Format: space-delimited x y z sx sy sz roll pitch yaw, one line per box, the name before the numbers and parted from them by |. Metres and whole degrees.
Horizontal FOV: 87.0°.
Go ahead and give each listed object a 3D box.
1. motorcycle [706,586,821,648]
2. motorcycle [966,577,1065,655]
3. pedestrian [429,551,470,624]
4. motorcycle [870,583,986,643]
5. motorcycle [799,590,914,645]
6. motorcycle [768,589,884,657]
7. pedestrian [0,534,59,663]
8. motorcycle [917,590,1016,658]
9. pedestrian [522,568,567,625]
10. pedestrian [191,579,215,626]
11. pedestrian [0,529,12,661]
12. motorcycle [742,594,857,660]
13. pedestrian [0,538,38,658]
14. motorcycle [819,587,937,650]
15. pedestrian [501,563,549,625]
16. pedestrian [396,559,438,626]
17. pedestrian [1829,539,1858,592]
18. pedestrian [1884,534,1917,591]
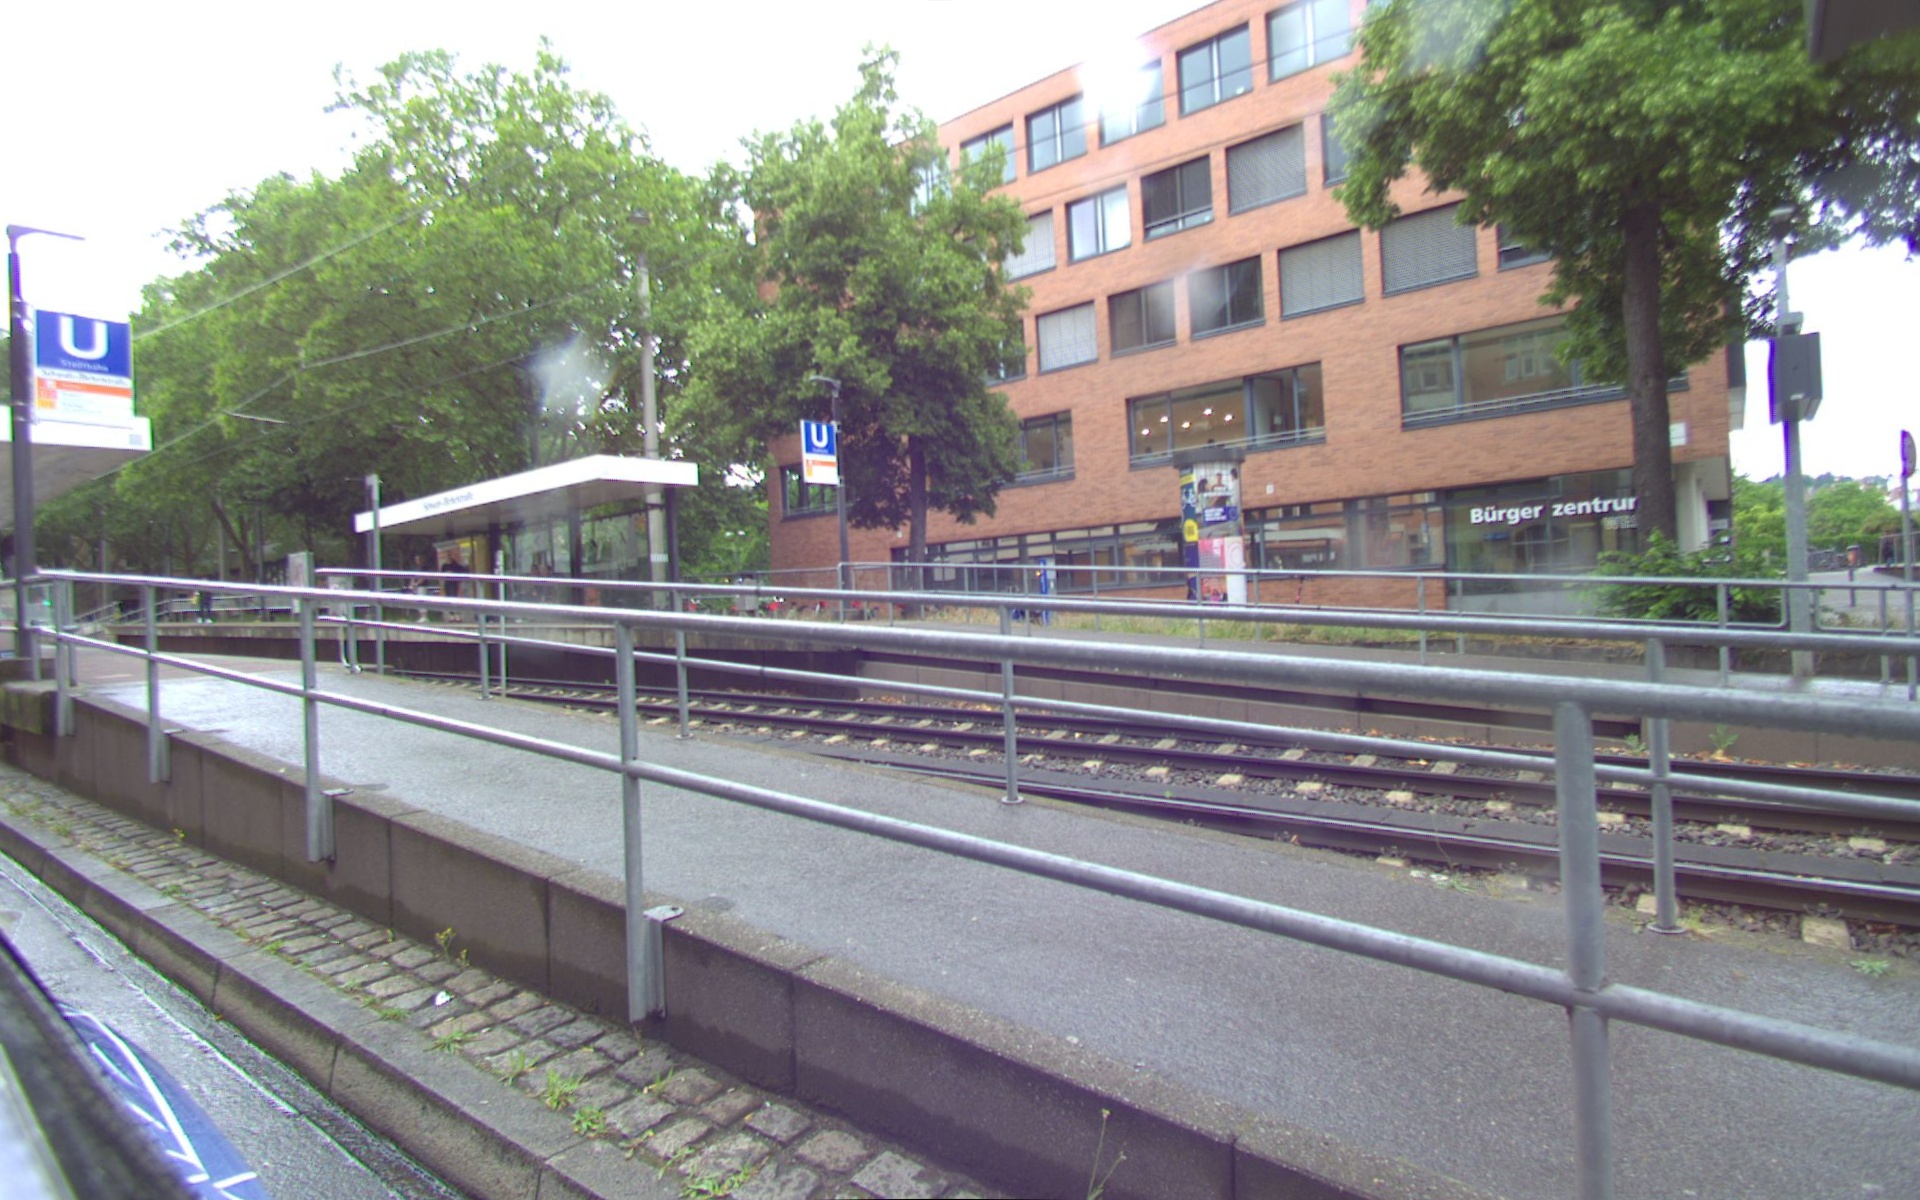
motorcycle | -6.098 0.493 31.782 1.004 1.787 3.829 -1 1 36
motorcycle | 1.452 0.371 25.609 0.991 1.829 3.009 -1 1 36
pedestrian | -12.375 -0.295 24.530 0.704 1.728 0.557 -2 0 36
motorcycle | -0.814 0.325 27.788 1.004 1.499 3.829 -1 1 36
motorcycle | -2.953 0.471 29.468 1.004 1.417 3.829 -1 1 36
motorcycle | -3.927 0.642 30.211 1.004 1.829 3.829 -1 1 36
pedestrian | -11.890 -0.018 12.839 0.507 1.593 0.607 -2 0 41
motorcycle | 0.228 0.604 26.842 1.004 1.640 3.031 -1 1 36
pedestrian | -9.277 -0.081 22.626 0.563 1.249 0.697 -2 0 36
pedestrian | -27.406 0.093 36.636 0.689 1.653 0.556 -2 0 45
pedestrian | -12.699 -0.053 13.050 0.587 1.701 0.607 -2 0 41
motorcycle | -4.824 0.780 30.921 1.004 1.829 3.829 -1 1 36
pedestrian | -12.979 -0.023 13.737 0.507 1.593 0.607 -2 0 41
motorcycle | -2.235 0.471 28.439 1.004 1.617 3.829 -1 1 36
pedestrian | -9.870 -0.145 22.973 0.563 1.373 0.770 -2 0 36
pedestrian | -13.640 -0.198 25.420 0.563 1.653 0.680 -2 0 36
pedestrian | 34.725 -1.348 39.774 0.715 2.029 0.712 -1 -1 33
pedestrian | 34.169 -1.349 36.763 0.715 2.029 0.712 -1 -1 33
